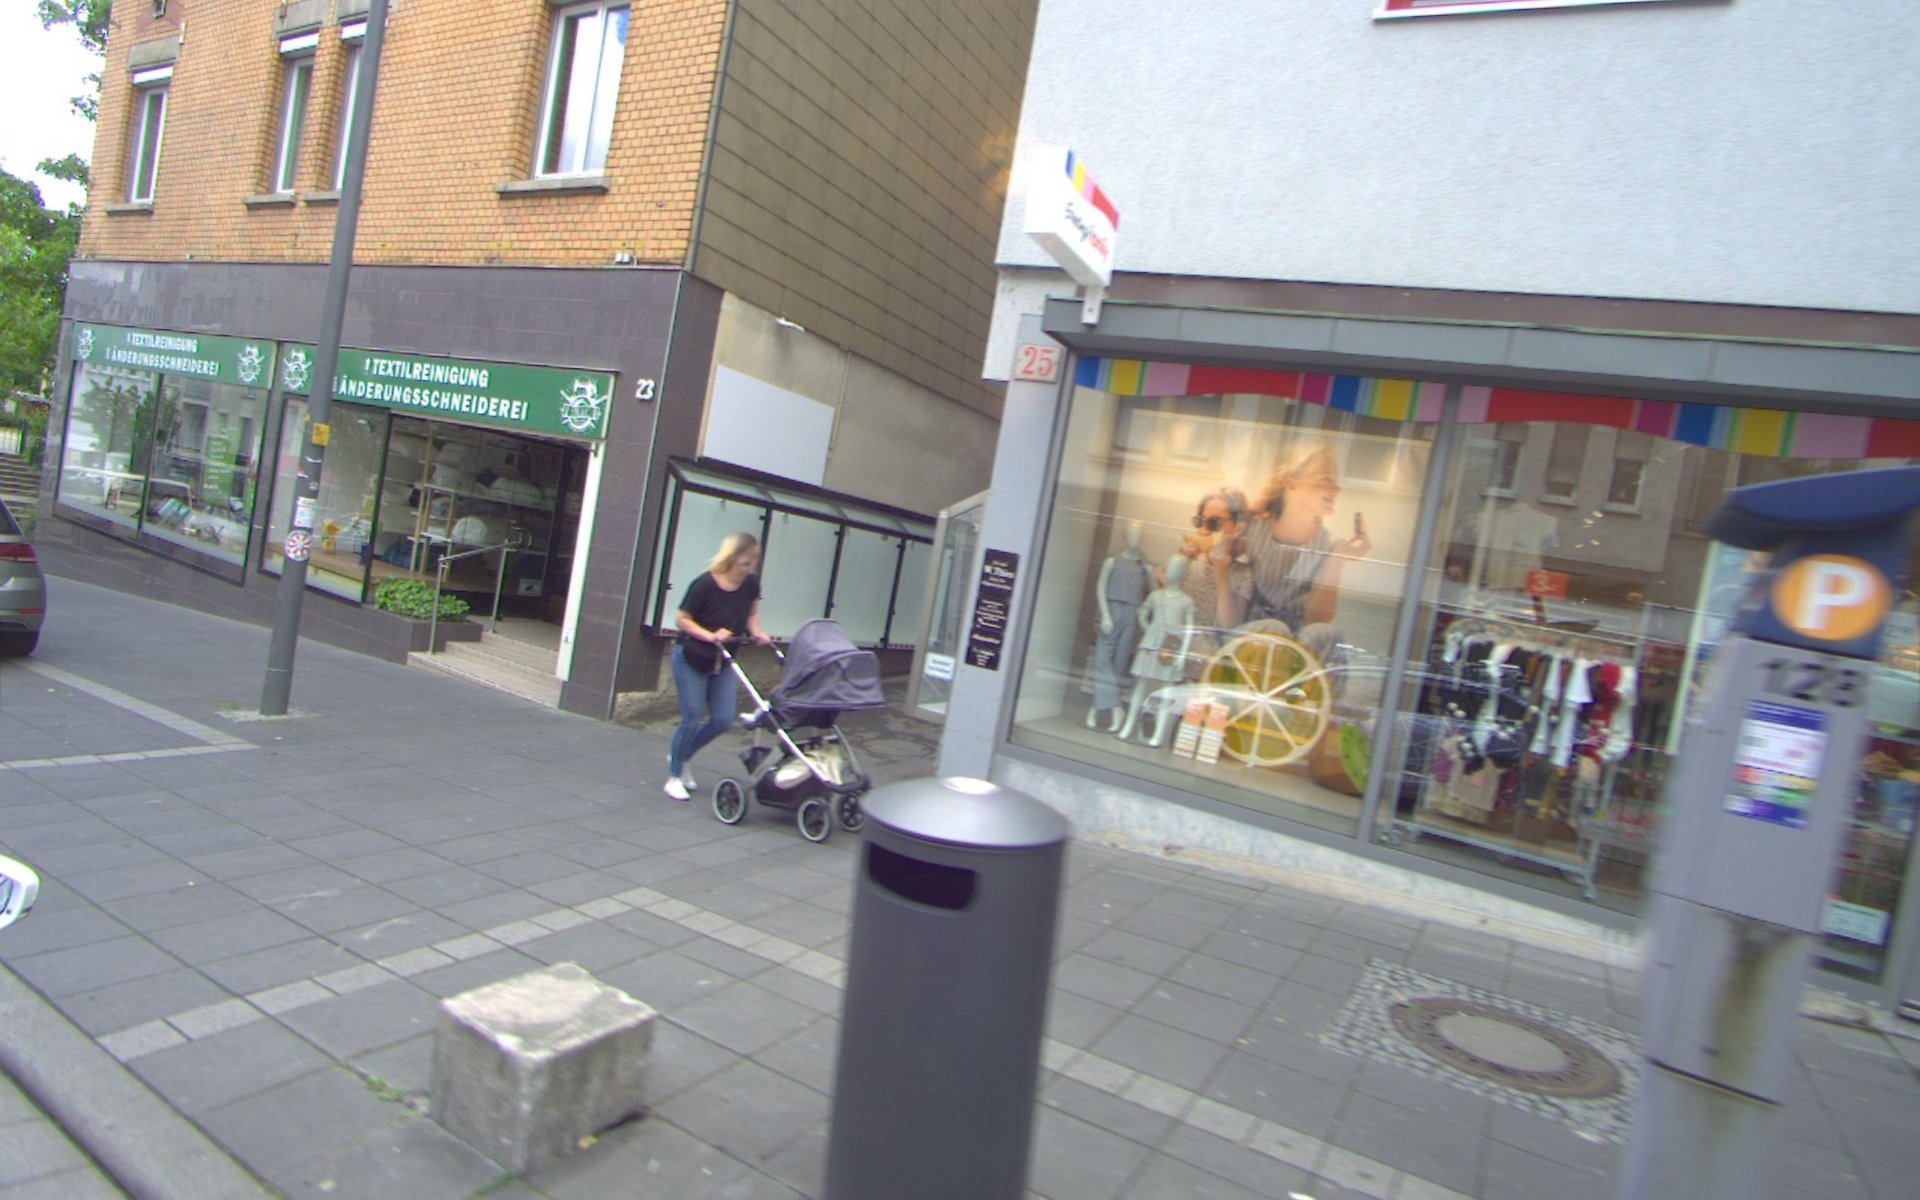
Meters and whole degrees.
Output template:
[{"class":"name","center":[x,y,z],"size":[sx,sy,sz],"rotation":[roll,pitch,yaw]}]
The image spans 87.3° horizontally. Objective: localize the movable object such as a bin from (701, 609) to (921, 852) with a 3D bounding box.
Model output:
[{"class":"movable object such as a bin","center":[-0.848,0.696,5.759],"size":[0.891,1.173,0.722],"rotation":[8,3,30]}]

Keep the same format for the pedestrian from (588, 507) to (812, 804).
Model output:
[{"class":"pedestrian","center":[-1.597,0.303,6.183],"size":[0.983,1.606,0.735],"rotation":[8,4,31]}]

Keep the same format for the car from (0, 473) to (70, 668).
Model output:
[{"class":"car","center":[-9.288,-0.451,8.298],"size":[4.006,1.485,1.749],"rotation":[7,3,31]}]
